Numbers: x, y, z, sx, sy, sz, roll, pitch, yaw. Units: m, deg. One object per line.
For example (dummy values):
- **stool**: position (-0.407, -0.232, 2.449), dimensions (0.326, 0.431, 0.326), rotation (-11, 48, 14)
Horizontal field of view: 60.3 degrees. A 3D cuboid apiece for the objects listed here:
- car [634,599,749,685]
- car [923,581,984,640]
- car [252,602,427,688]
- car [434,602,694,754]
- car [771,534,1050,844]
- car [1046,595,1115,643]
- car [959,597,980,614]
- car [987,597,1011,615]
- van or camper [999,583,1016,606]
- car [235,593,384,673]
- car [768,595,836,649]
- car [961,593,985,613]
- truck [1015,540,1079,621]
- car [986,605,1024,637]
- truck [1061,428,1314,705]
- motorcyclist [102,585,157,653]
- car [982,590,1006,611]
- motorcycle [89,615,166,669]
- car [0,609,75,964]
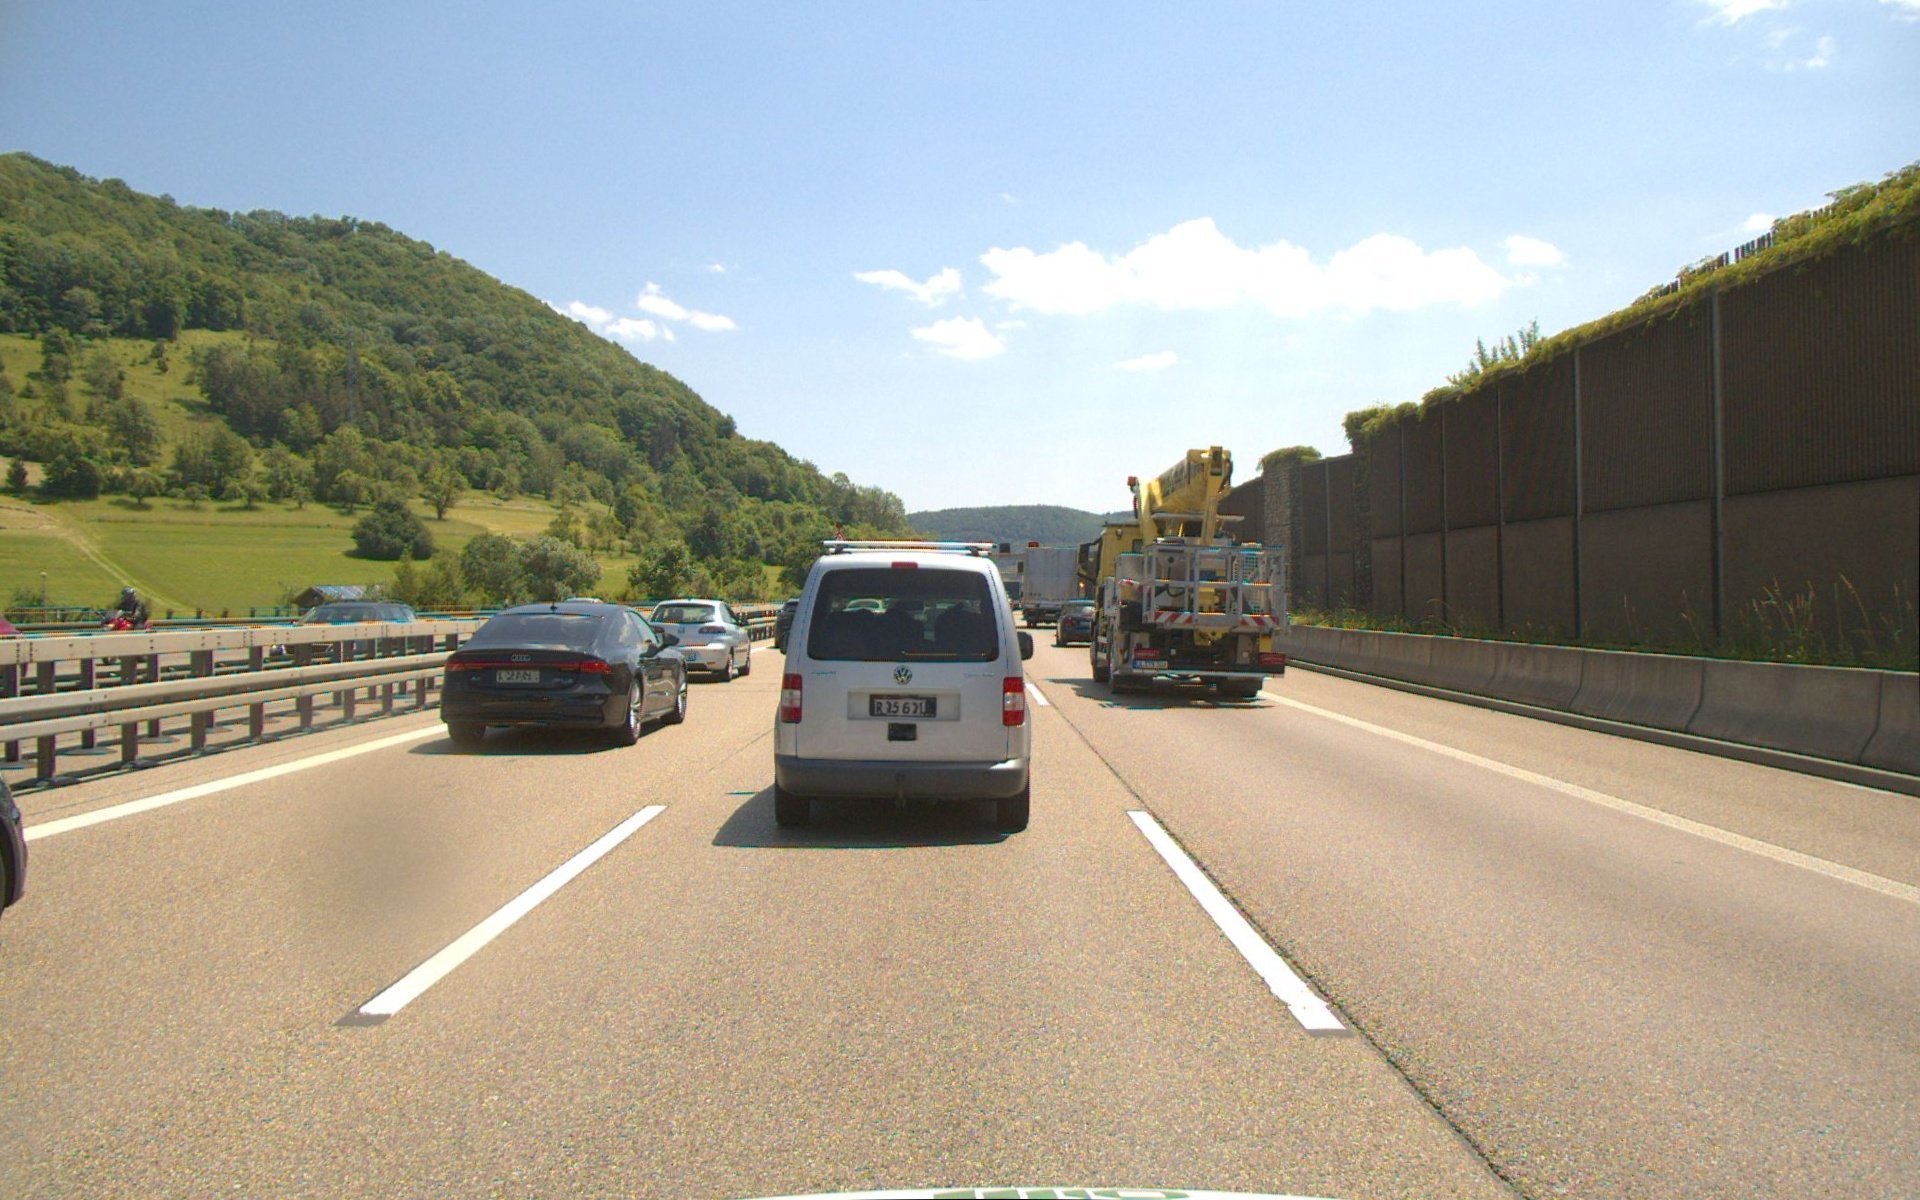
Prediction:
- **car**: position (-4.841, 0.715, 30.246), dimensions (1.662, 1.470, 3.859), rotation (0, 0, -3)
- **car**: position (-0.266, 0.366, 58.828), dimensions (1.954, 2.010, 3.997), rotation (0, 0, -4)
- **car**: position (-11.678, 0.799, 31.454), dimensions (1.714, 1.494, 4.626), rotation (0, 0, -2)
- **car**: position (-4.107, 0.730, 17.998), dimensions (1.764, 1.415, 4.968), rotation (0, 0, -2)
- **car**: position (-0.421, 0.542, 12.203), dimensions (1.721, 1.900, 3.997), rotation (0, 0, -4)
- **car**: position (3.863, 0.590, 53.532), dimensions (1.751, 1.484, 3.768), rotation (0, 0, -4)
- **car**: position (1.054, 0.621, 185.076), dimensions (2.072, 1.860, 3.997), rotation (1, -1, -4)
- **car**: position (3.962, 0.613, 166.927), dimensions (2.072, 1.860, 3.997), rotation (1, -1, -4)
- **van or camper**: position (6.338, -0.759, 220.111), dimensions (1.953, 3.005, 5.422), rotation (1, -1, -1)
- **car**: position (-15.678, 0.773, 40.124), dimensions (1.953, 1.823, 4.275), rotation (1, -1, -1)
- **car**: position (-4.664, 0.633, 49.281), dimensions (1.887, 1.525, 3.997), rotation (1, 0, -4)
- **car**: position (1.277, 0.319, 163.652), dimensions (2.072, 1.860, 3.997), rotation (1, -1, -4)
- **truck**: position (4.357, -0.898, 84.341), dimensions (2.880, 3.890, 8.236), rotation (1, -1, 0)
- **car**: position (2.680, 1.233, 98.375), dimensions (2.071, 1.860, 3.999), rotation (1, -1, -1)
- **truck**: position (3.576, -0.492, 28.405), dimensions (2.650, 4.011, 8.715), rotation (0, 0, -4)
- **motorcyclist**: position (-18.790, 0.420, 37.447), dimensions (0.827, 1.527, 0.838), rotation (0, 0, -2)
- **car**: position (2.939, 0.049, 144.727), dimensions (1.953, 1.779, 3.999), rotation (1, -1, -1)
- **motorcycle**: position (-18.791, 0.931, 37.377), dimensions (0.703, 1.169, 2.129), rotation (0, 0, -2)
- **car**: position (-4.660, 0.751, 5.167), dimensions (1.654, 1.413, 4.000), rotation (0, 0, 0)
